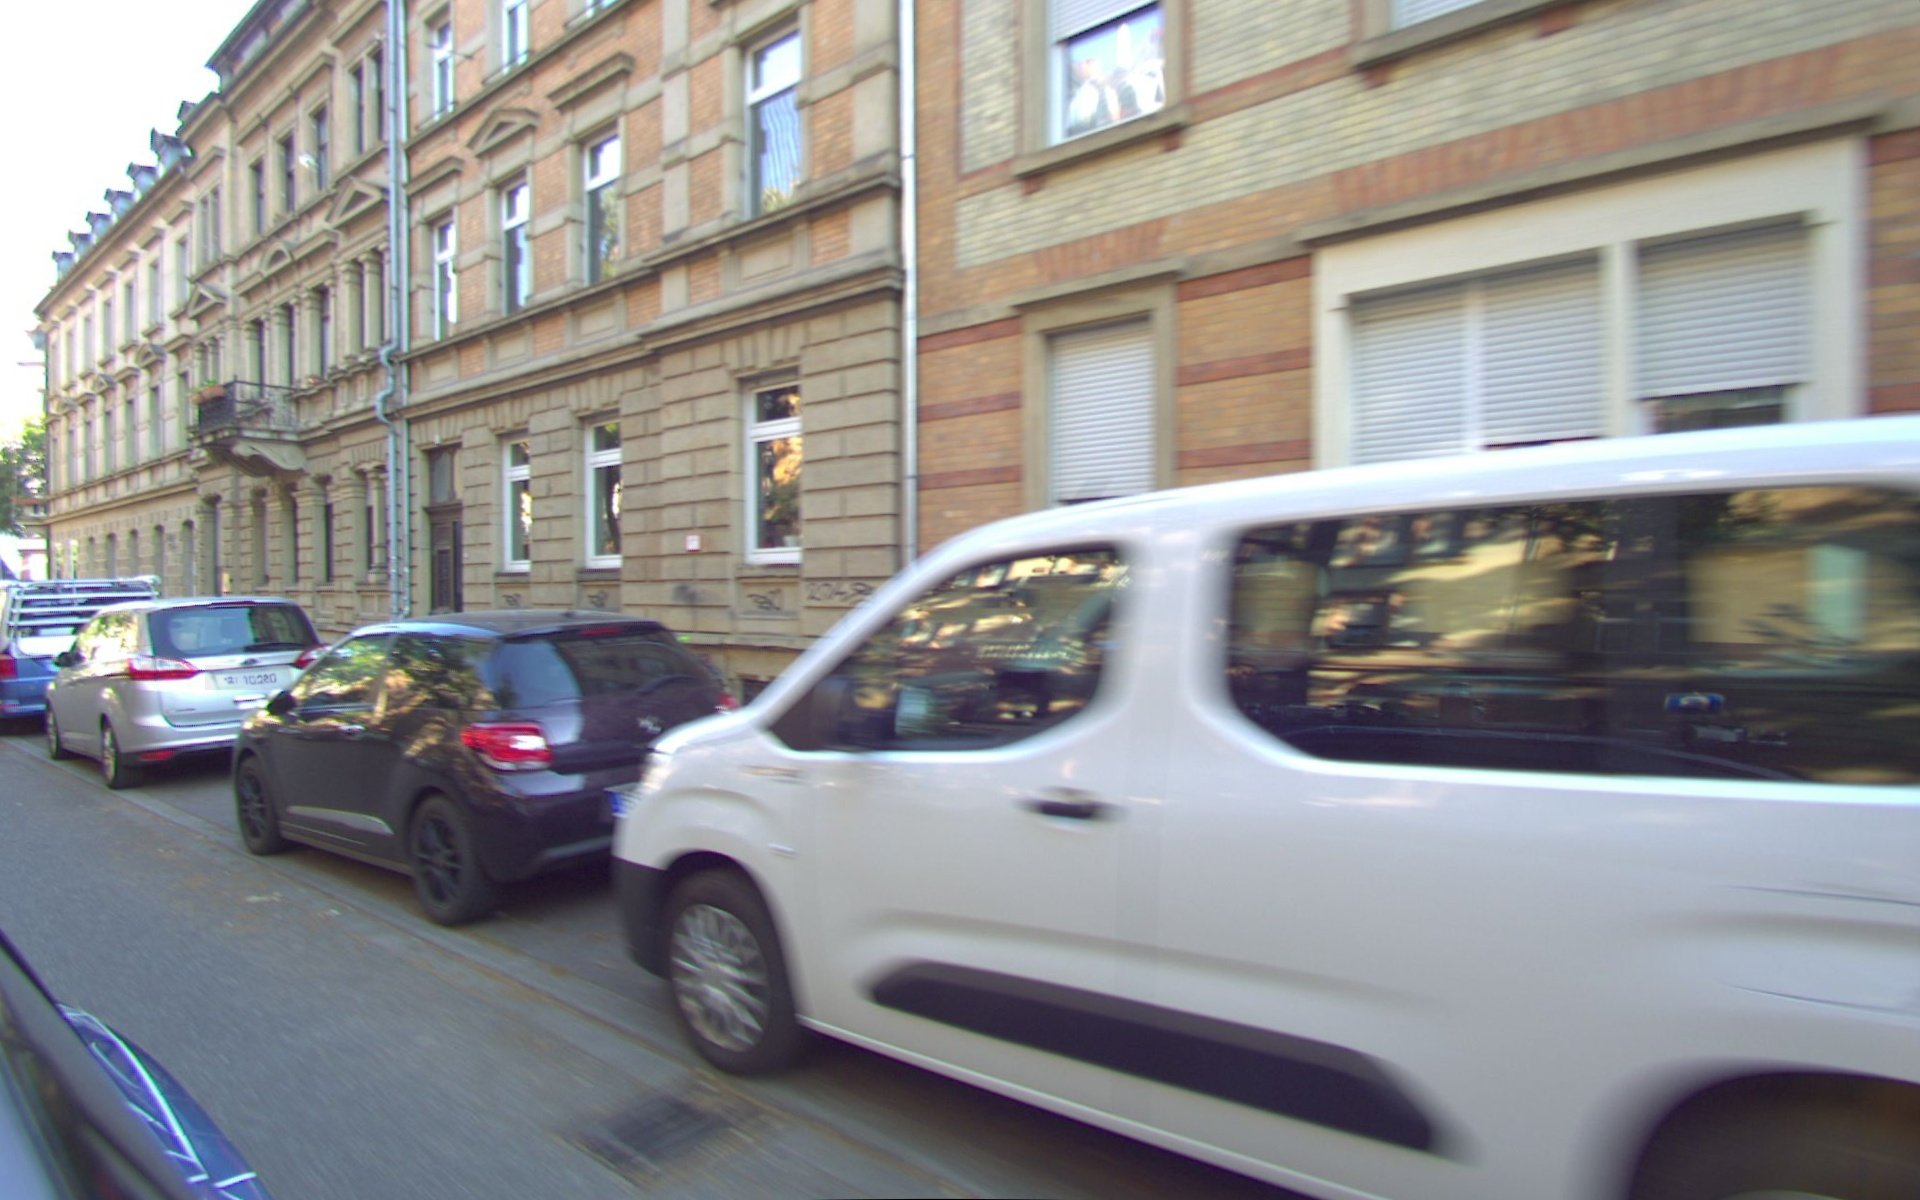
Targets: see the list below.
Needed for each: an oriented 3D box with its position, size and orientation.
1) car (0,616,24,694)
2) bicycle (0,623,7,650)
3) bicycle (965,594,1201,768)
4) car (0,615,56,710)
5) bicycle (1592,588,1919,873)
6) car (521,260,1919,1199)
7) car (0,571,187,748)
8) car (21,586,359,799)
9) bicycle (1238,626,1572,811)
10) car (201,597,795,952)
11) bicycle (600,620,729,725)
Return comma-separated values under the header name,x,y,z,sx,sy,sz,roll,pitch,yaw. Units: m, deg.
name,x,y,z,sx,sy,sz,roll,pitch,yaw
car,-20.373,1.105,20.445,3.821,1.502,1.620,-1,1,40
bicycle,-41.384,1.579,42.426,2.012,1.106,0.500,-2,1,-38
bicycle,0.953,0.611,8.233,1.907,1.266,0.489,-1,1,39
car,-16.999,1.042,17.367,3.821,1.502,1.620,-1,1,40
bicycle,4.588,0.591,4.815,2.661,1.290,0.623,-1,0,33
car,0.748,0.450,3.061,4.601,1.847,1.824,-1,1,38
car,-12.594,0.710,14.039,4.740,2.072,1.923,-1,1,40
car,-7.760,0.755,10.058,4.154,1.670,1.749,-1,1,40
bicycle,2.810,0.692,6.542,1.907,1.030,0.489,-1,1,39
car,-2.903,0.752,6.020,3.820,1.432,1.621,-1,1,38
bicycle,-3.370,0.788,11.478,1.724,1.104,0.459,-1,0,37
